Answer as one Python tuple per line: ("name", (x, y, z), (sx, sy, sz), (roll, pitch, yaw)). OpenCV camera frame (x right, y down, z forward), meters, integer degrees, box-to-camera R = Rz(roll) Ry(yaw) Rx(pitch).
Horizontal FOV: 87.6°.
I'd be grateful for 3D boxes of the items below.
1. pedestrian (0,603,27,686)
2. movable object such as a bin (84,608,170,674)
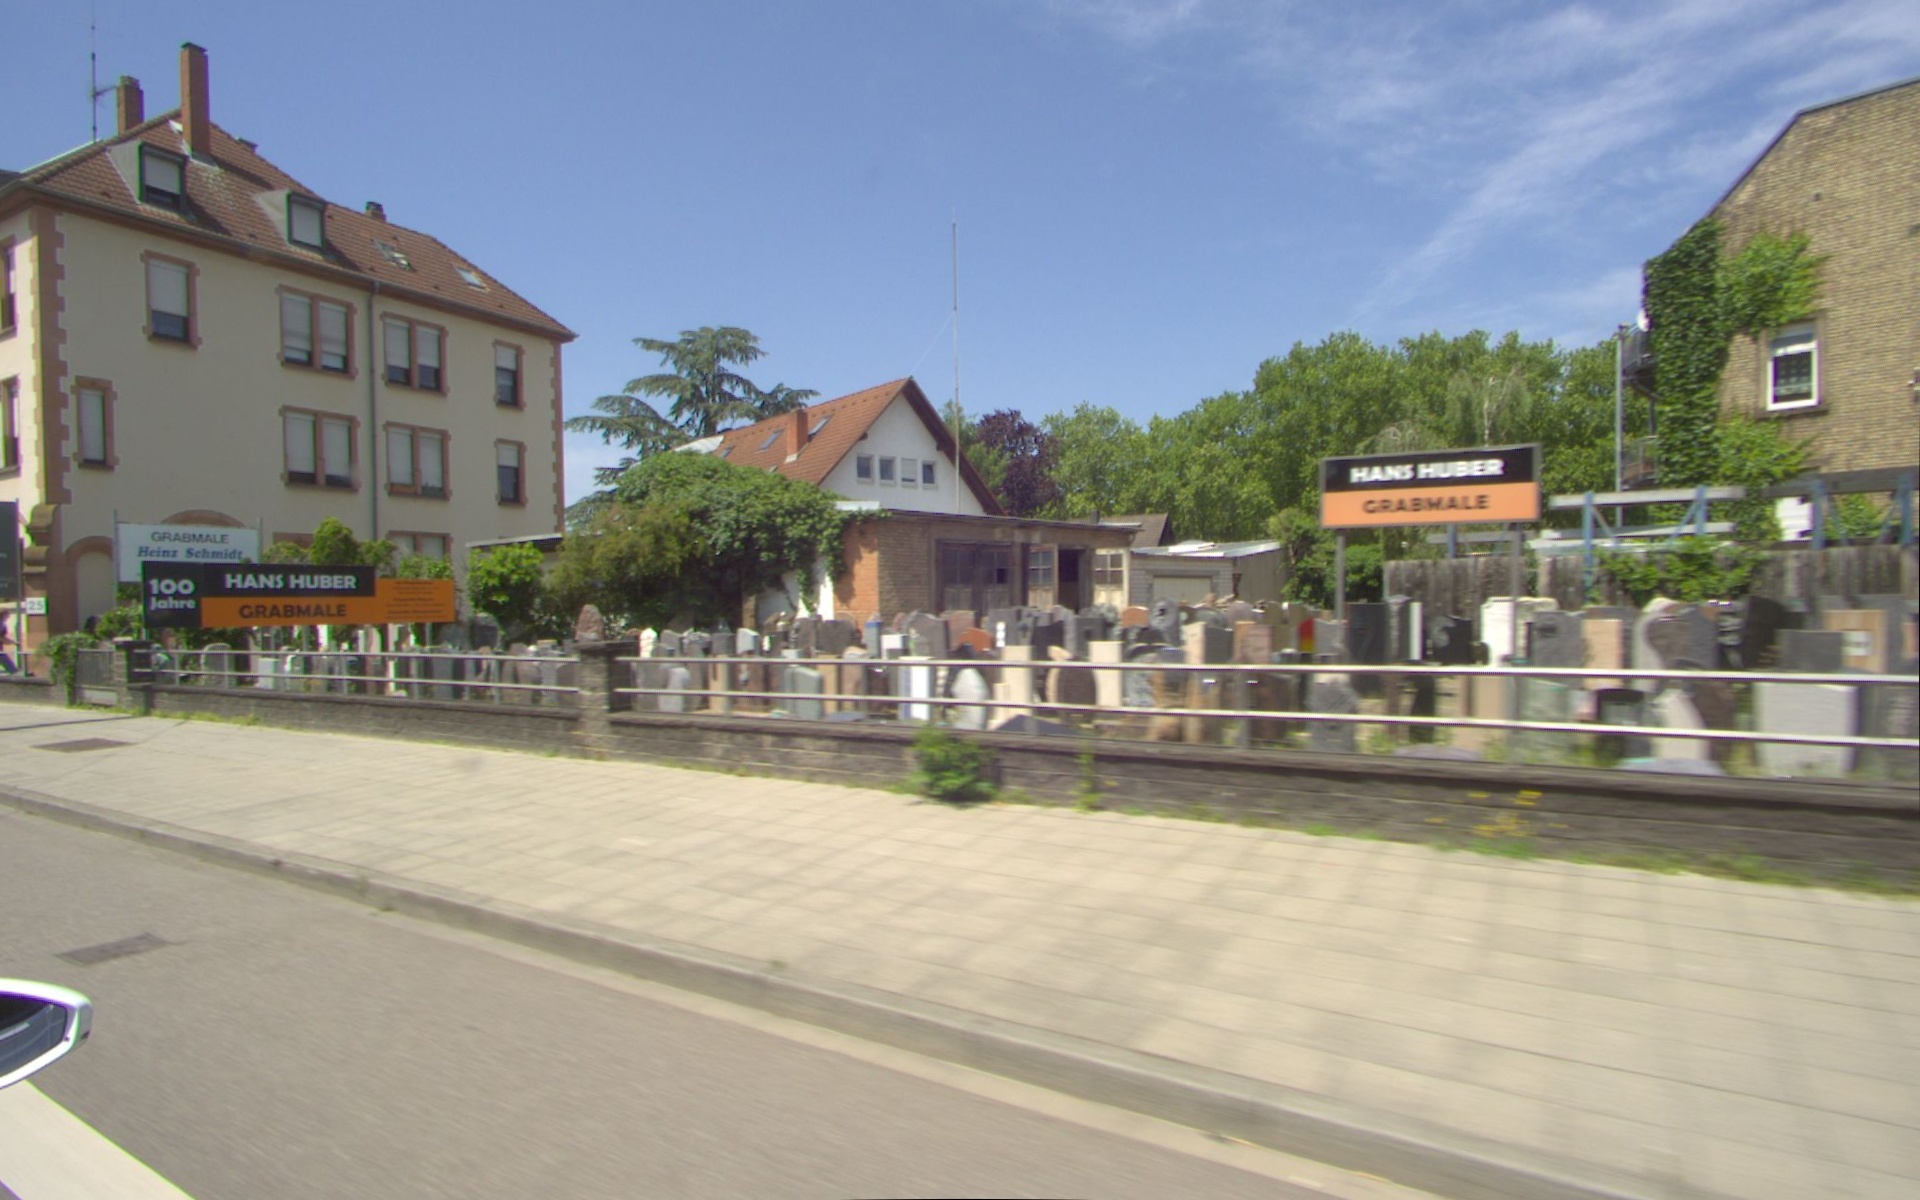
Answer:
("pedestrian", (-20.096, 0.932, 20.910), (0.582, 1.713, 0.820), (0, 0, 41))
("movable object such as a bin", (-20.480, 0.982, 24.634), (1.031, 1.519, 1.326), (-1, 2, 31))
